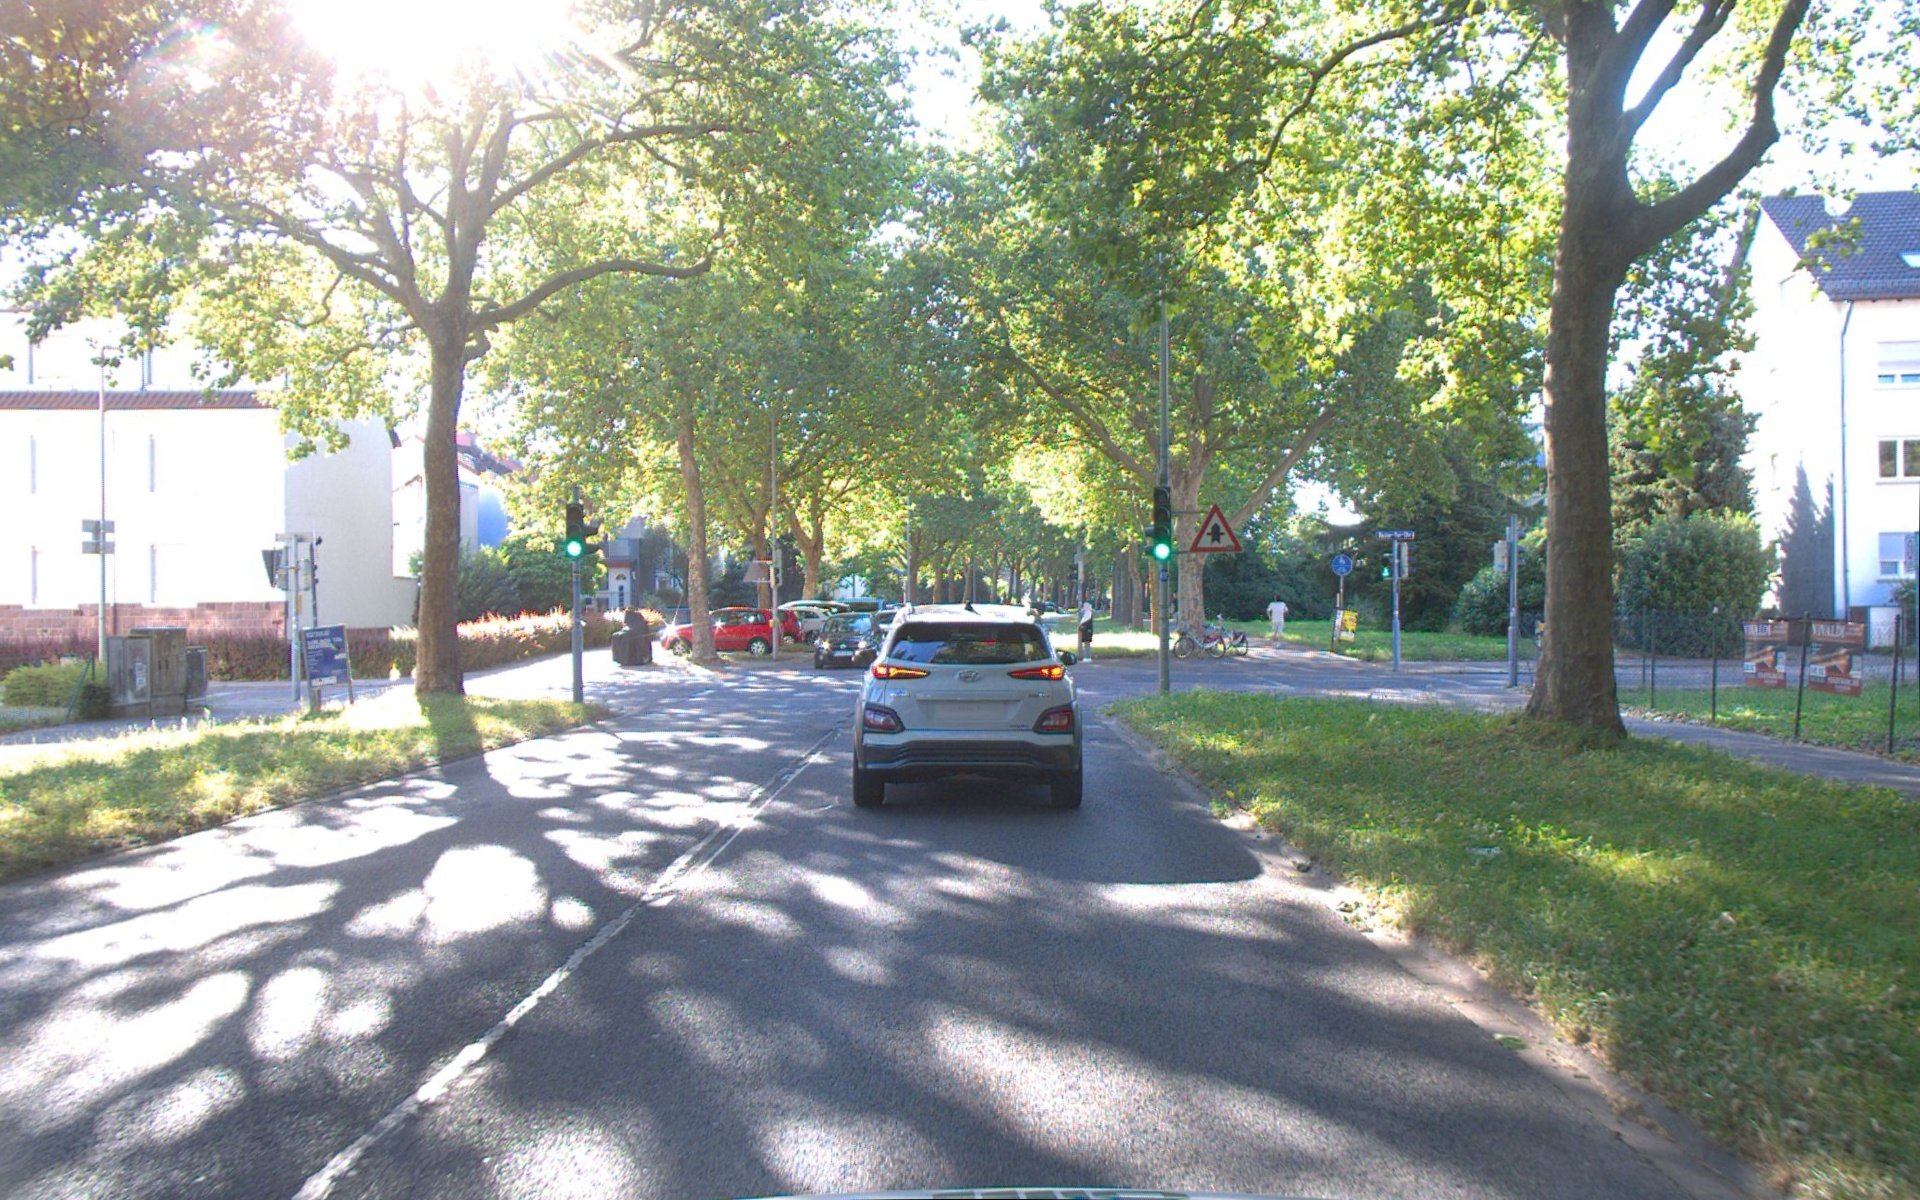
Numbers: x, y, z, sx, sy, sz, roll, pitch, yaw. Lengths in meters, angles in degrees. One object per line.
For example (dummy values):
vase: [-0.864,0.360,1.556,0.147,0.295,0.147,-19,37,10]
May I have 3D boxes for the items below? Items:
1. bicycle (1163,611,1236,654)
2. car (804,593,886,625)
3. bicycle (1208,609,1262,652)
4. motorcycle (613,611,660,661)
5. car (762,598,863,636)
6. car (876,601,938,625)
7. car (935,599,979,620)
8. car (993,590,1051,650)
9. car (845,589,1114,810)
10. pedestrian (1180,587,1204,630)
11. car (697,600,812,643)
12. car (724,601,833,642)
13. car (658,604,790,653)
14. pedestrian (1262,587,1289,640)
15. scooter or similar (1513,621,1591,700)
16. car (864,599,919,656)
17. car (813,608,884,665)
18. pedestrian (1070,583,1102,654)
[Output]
bicycle: [6.771,0.916,46.848,0.600,1.184,2.116,2,-1,-43]
car: [-5.718,0.457,82.774,3.905,1.504,2.000,1,-1,0]
bicycle: [7.898,0.882,47.581,0.594,1.204,2.107,1,-1,-19]
motorcycle: [-9.482,1.047,48.593,0.829,1.403,2.776,1,-1,-1]
car: [-6.049,0.699,68.161,3.905,1.504,2.000,1,-1,0]
car: [-3.426,0.820,106.702,3.905,1.504,2.000,1,-1,0]
car: [-0.275,0.827,144.901,3.601,1.840,1.745,0,0,-9]
car: [2.175,0.702,58.915,1.952,2.049,4.000,-1,0,1]
car: [0.125,0.748,14.098,1.953,1.602,3.999,1,-1,-1]
pedestrian: [11.259,0.396,80.282,1.071,2.049,1.106,-1,0,6]
car: [-7.521,0.798,60.809,3.905,1.504,2.000,1,-1,0]
car: [-6.893,0.809,63.039,3.905,1.504,2.000,1,-1,0]
car: [-7.557,0.904,53.208,3.905,1.504,2.000,1,-1,0]
pedestrian: [10.467,0.451,54.885,0.816,1.766,0.885,0,-1,8]
scooter or similar: [10.069,1.003,28.207,0.538,1.280,2.313,1,-1,1]
car: [-2.360,0.965,57.863,1.755,1.915,3.999,1,-1,-1]
car: [-3.044,0.983,45.731,1.653,1.462,3.682,1,0,0]
pedestrian: [3.688,0.551,48.331,0.849,2.049,0.814,0,-1,8]
